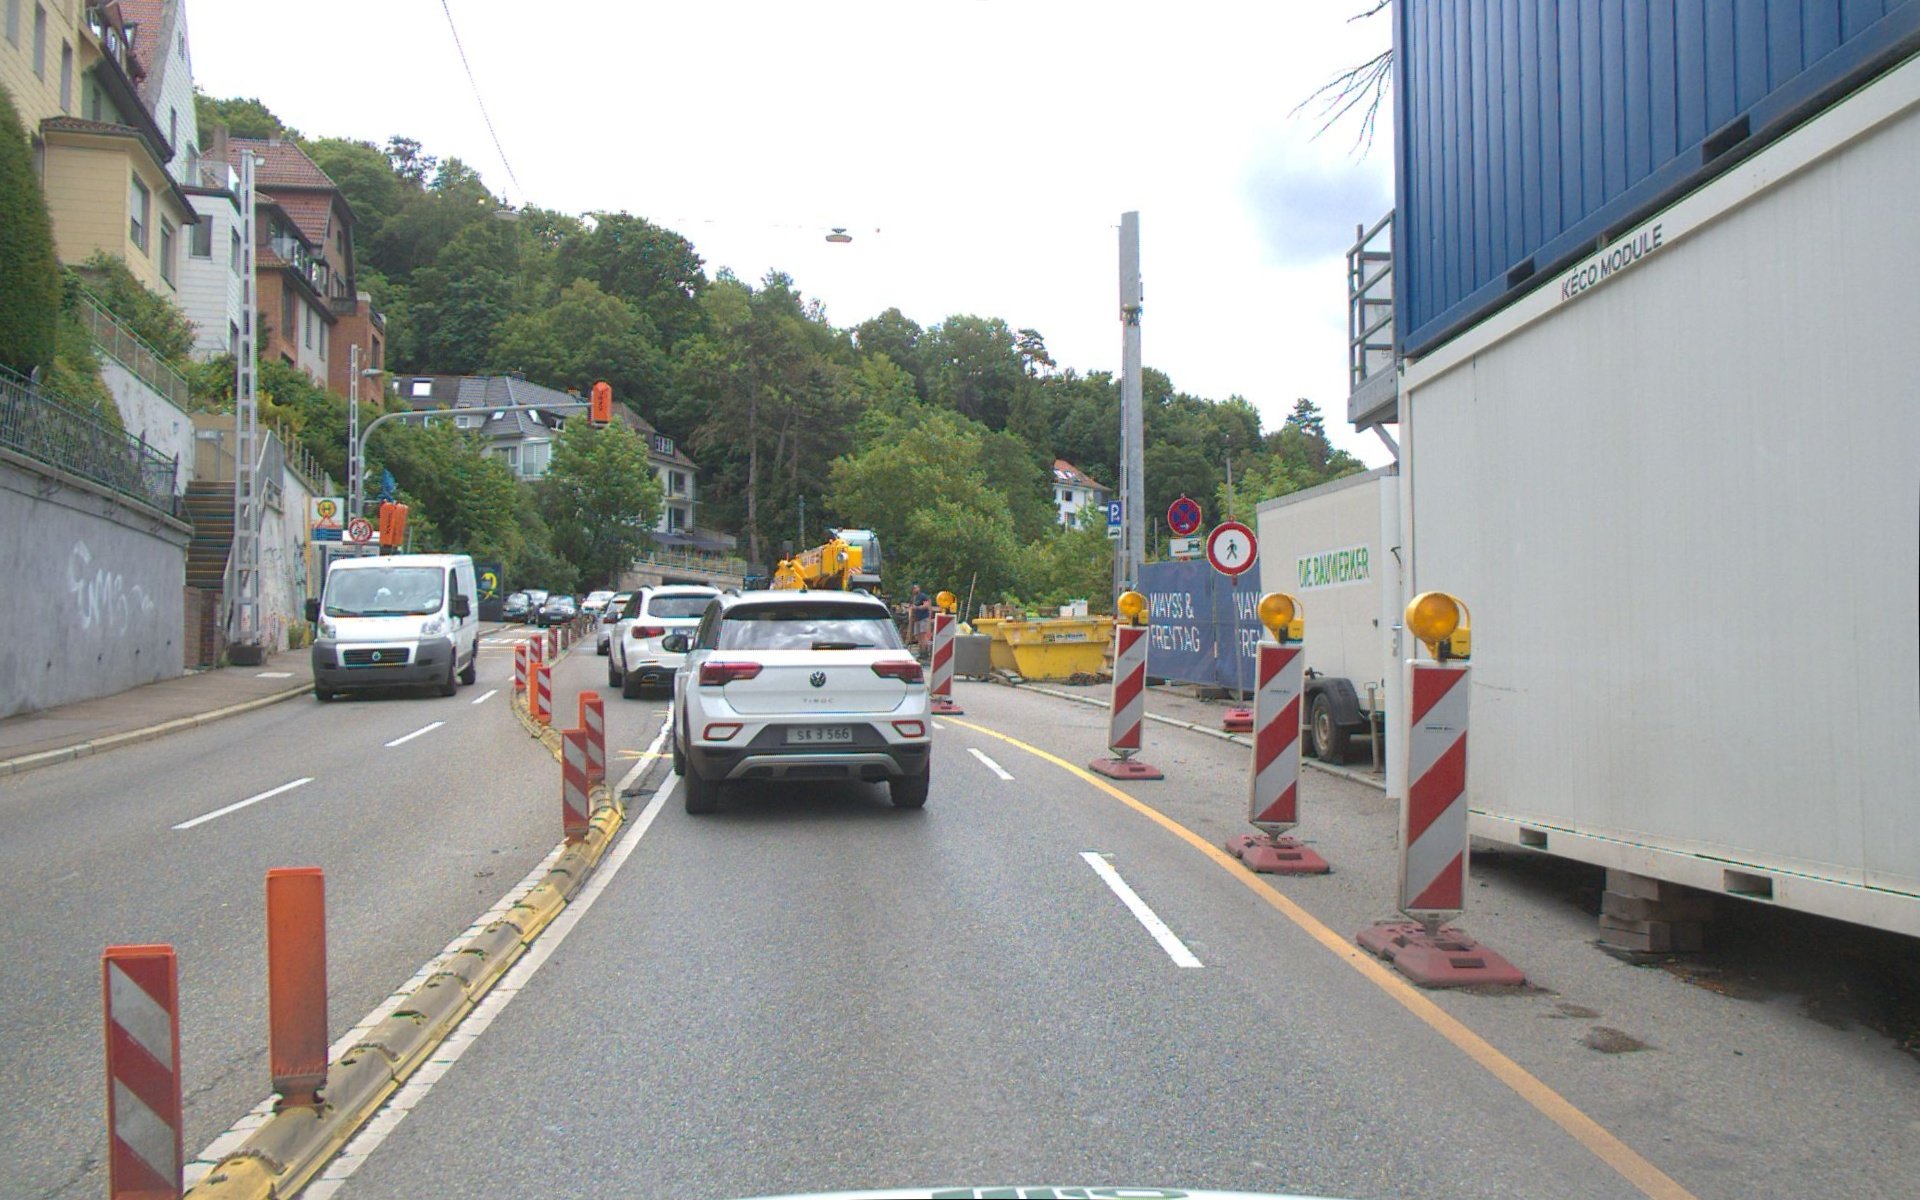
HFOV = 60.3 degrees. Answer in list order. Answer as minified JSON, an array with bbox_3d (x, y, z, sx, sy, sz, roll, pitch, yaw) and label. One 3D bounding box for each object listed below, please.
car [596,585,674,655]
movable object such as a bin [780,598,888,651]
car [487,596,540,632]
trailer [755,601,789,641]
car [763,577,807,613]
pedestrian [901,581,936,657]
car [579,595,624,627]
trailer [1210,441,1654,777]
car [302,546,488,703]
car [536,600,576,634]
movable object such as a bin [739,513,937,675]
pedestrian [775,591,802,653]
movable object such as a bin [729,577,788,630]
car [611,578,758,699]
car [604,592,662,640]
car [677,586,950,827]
[{"bbox_3d":[-8.426,0.492,42.623,1.779,1.692,3.985,-1,0,-14],"label":"car"},{"bbox_3d":[-4.187,0.747,53.650,2.334,1.589,7.073,1,0,-14],"label":"movable object such as a bin"},{"bbox_3d":[-20.838,0.635,77.302,1.760,1.536,3.994,3,0,-7],"label":"car"},{"bbox_3d":[-7.309,0.790,64.467,1.263,1.501,3.629,1,0,-6],"label":"trailer"},{"bbox_3d":[-7.685,-0.191,72.425,1.761,1.537,3.992,0,0,-8],"label":"car"},{"bbox_3d":[-1.017,0.458,40.220,0.680,1.826,0.535,1,0,-25],"label":"pedestrian"},{"bbox_3d":[-18.935,0.551,87.438,1.806,1.627,4.258,1,0,-6],"label":"car"},{"bbox_3d":[4.142,0.050,15.624,2.067,2.594,5.109,-2,0,-8],"label":"trailer"},{"bbox_3d":[-8.960,0.330,26.663,2.029,2.225,4.951,-2,1,-10],"label":"car"},{"bbox_3d":[-18.075,0.738,74.098,1.642,1.455,3.577,0,0,-12],"label":"car"},{"bbox_3d":[-2.864,-0.113,36.152,2.766,3.124,7.789,1,0,-16],"label":"movable object such as a bin"},{"bbox_3d":[-4.911,0.623,47.451,0.634,1.731,0.847,2,0,-12],"label":"pedestrian"},{"bbox_3d":[-10.806,0.172,89.023,2.165,2.709,4.947,1,0,5],"label":"movable object such as a bin"},{"bbox_3d":[-4.330,0.545,25.513,1.780,1.692,3.982,-1,0,-16],"label":"car"},{"bbox_3d":[-10.996,0.506,55.514,1.763,1.537,3.986,-1,0,-13],"label":"car"},{"bbox_3d":[-1.297,0.696,12.963,1.777,1.558,3.990,-1,0,-10],"label":"car"}]
